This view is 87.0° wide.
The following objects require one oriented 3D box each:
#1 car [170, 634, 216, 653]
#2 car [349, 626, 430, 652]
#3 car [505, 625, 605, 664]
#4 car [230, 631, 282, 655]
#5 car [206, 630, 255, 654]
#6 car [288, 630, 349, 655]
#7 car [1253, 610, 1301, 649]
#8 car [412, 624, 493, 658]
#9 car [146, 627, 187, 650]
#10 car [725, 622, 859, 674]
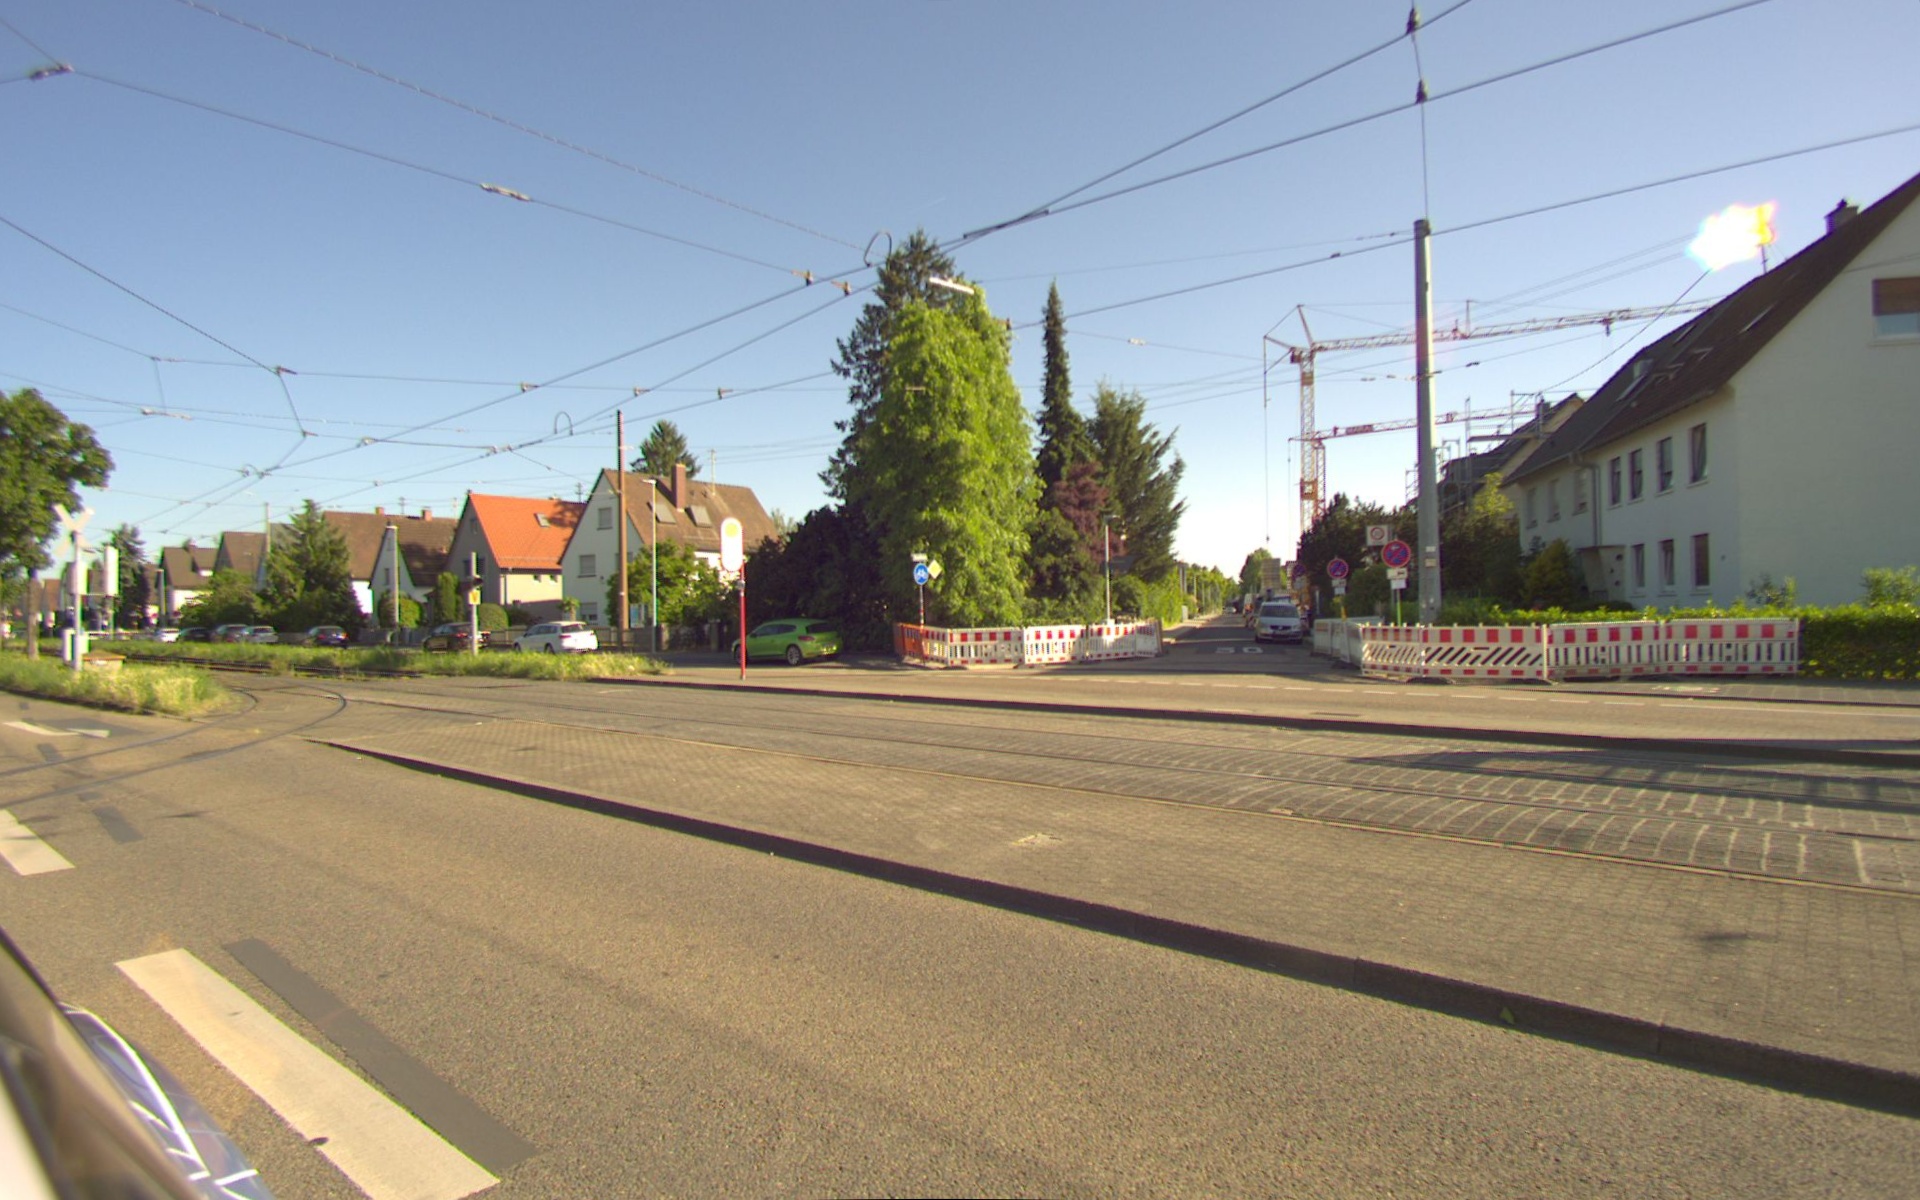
[{"bbox_3d":[-61.547,3.470,81.204,4.980,1.351,1.973,-1,0,41],"label":"car"},{"bbox_3d":[-38.835,2.607,68.936,1.746,1.481,4.433,-1,1,39],"label":"car"},{"bbox_3d":[-16.850,1.813,42.033,4.610,1.483,1.865,-1,0,40],"label":"car"},{"bbox_3d":[-48.892,2.992,70.248,4.837,1.483,1.864,-2,0,42],"label":"car"},{"bbox_3d":[-52.874,3.055,73.362,4.534,1.572,1.864,-2,0,41],"label":"car"},{"bbox_3d":[-38.461,2.550,60.653,4.308,1.382,1.972,-2,-1,42],"label":"car"},{"bbox_3d":[12.827,1.169,41.135,1.733,1.418,4.467,-2,-1,16],"label":"car"},{"bbox_3d":[-24.347,1.939,48.504,4.439,1.477,1.887,-1,0,41],"label":"car"},{"bbox_3d":[-68.221,3.272,87.026,4.582,1.877,1.973,-2,-1,41],"label":"car"},{"bbox_3d":[-5.400,1.499,32.412,4.061,1.512,1.975,-1,0,37],"label":"car"}]
